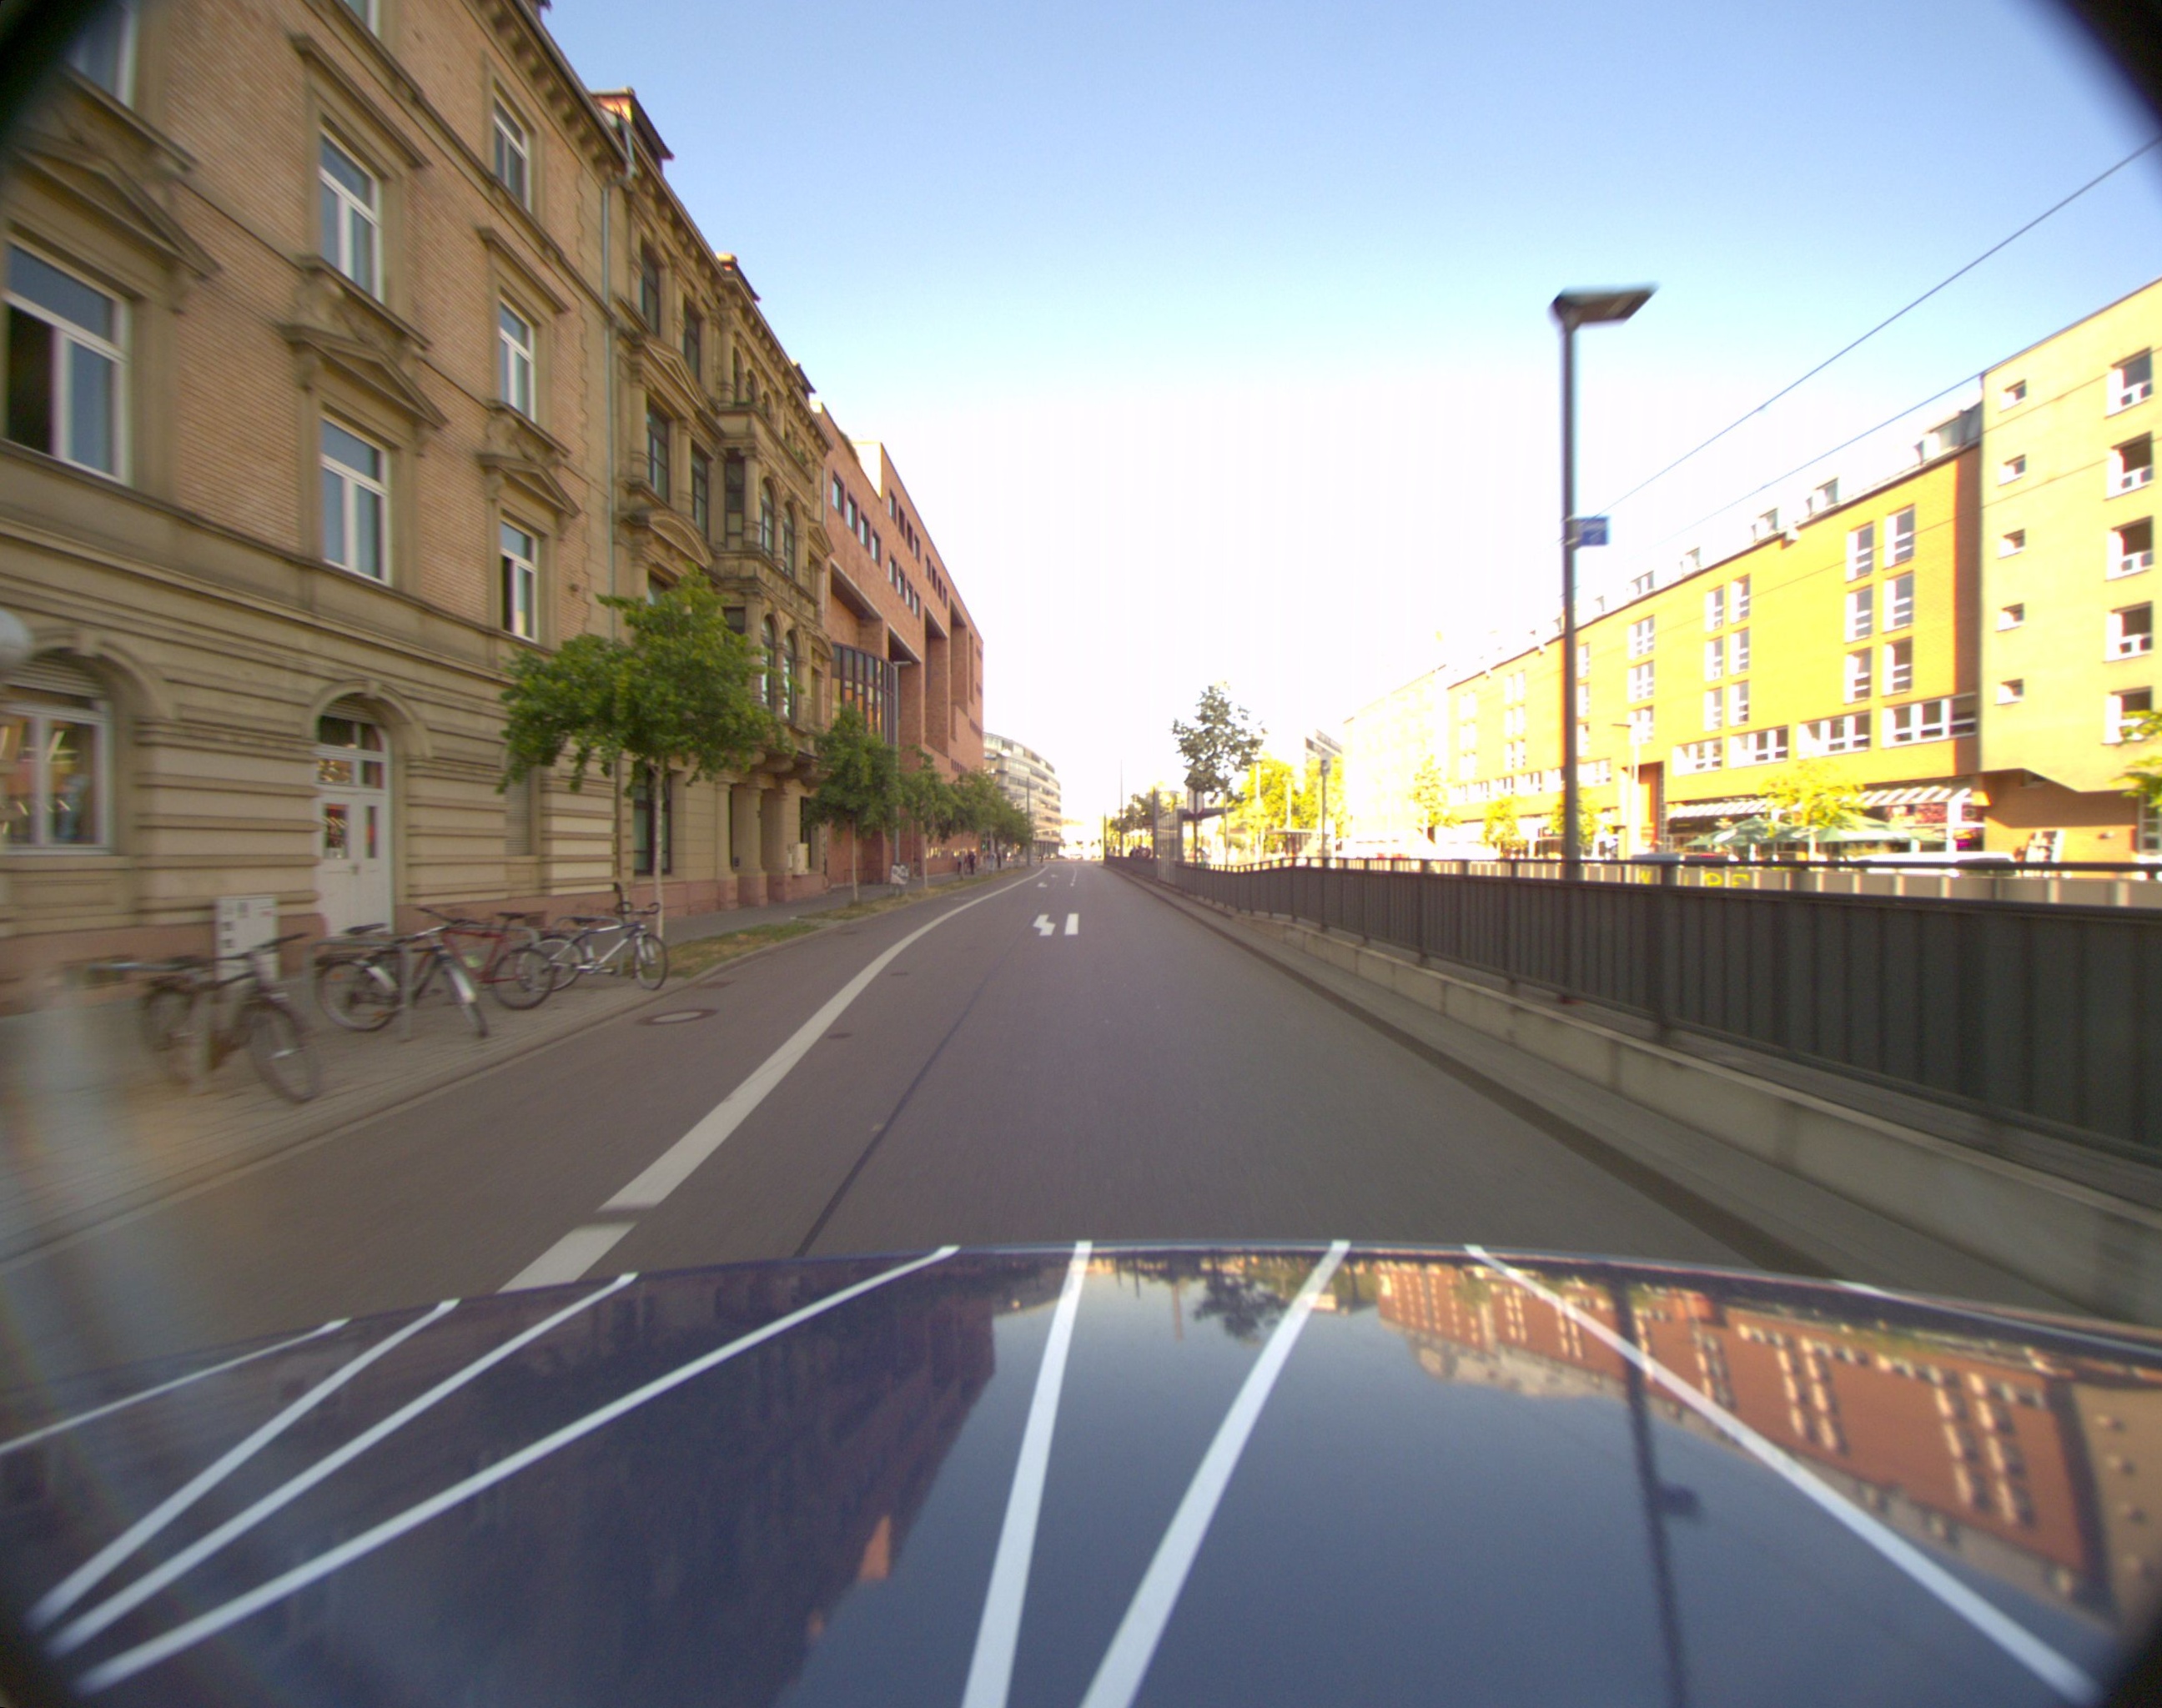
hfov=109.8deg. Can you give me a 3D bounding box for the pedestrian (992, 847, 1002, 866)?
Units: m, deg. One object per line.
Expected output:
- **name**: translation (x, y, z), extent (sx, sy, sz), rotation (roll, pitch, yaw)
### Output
- **pedestrian**: translation (-7.677, 0.255, 69.380), extent (0.639, 1.703, 0.574), rotation (1, 2, 45)

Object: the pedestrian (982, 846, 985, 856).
- **pedestrian**: translation (-18.539, -0.579, 144.535), extent (0.547, 1.813, 0.374), rotation (0, 1, -13)

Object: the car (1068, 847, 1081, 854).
- **car**: translation (-1.461, -0.789, 167.158), extent (1.901, 1.612, 4.177), rotation (0, 0, 15)

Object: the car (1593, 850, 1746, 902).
- **car**: translation (21.345, 0.733, 27.881), extent (1.998, 1.707, 4.942), rotation (0, 1, 4)

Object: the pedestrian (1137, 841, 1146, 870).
- **pedestrian**: translation (3.575, 0.090, 44.903), extent (0.506, 1.669, 0.651), rotation (0, 1, 0)

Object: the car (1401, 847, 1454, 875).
- **car**: translation (23.702, 0.477, 52.166), extent (1.890, 1.856, 4.317), rotation (0, 0, 3)

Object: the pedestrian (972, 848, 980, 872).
- **pedestrian**: translation (-7.668, 0.403, 55.376), extent (0.538, 1.746, 0.464), rotation (0, 1, -8)

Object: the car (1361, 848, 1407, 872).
- **car**: translation (23.849, 0.473, 59.893), extent (1.891, 1.856, 4.315), rotation (0, 0, 0)

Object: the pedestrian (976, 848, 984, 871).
- **pedestrian**: translation (-7.636, 0.404, 57.552), extent (0.538, 1.746, 0.695), rotation (0, 1, -6)

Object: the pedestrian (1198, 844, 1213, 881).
- **pedestrian**: translation (4.676, 0.301, 28.502), extent (0.430, 1.377, 0.407), rotation (-1, 1, -11)

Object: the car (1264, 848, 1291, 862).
- **car**: translation (21.818, 0.071, 84.516), extent (1.891, 1.523, 3.999), rotation (0, 0, -1)

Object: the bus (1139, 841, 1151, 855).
- **bus**: translation (15.954, -1.392, 190.067), extent (2.723, 3.388, 9.673), rotation (0, 0, 7)

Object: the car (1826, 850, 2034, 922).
- **car**: translation (25.747, 0.904, 23.303), extent (1.997, 2.002, 4.149), rotation (0, 0, 6)

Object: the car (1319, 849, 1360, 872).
- **car**: translation (21.217, 0.514, 62.517), extent (1.891, 1.856, 4.316), rotation (0, 0, 0)

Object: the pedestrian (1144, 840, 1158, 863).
- **pedestrian**: translation (5.120, -0.209, 55.603), extent (0.889, 1.662, 1.096), rotation (0, 1, 11)

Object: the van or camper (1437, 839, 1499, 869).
- **van or camper**: translation (29.055, 0.030, 57.235), extent (1.998, 2.156, 5.617), rotation (0, -1, 2)

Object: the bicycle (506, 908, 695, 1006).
- **bicycle**: translation (-5.849, 1.245, 9.327), extent (1.831, 1.058, 0.663), rotation (3, 0, -5)

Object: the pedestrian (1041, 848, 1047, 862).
- **pedestrian**: translation (-4.493, 0.105, 91.788), extent (0.625, 1.692, 0.748), rotation (0, 1, -14)

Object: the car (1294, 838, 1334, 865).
- **car**: translation (21.079, -0.262, 68.856), extent (2.051, 2.344, 4.919), rotation (0, 1, 0)

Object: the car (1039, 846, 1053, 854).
- **car**: translation (-7.516, -0.811, 164.319), extent (1.901, 1.612, 4.177), rotation (0, 0, 15)

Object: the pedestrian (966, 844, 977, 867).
- **pedestrian**: translation (-8.464, 0.101, 58.687), extent (0.735, 1.746, 0.695), rotation (0, 1, -5)

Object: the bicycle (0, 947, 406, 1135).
- **bicycle**: translation (-5.792, 1.223, 5.095), extent (1.831, 1.058, 0.663), rotation (3, 0, -5)

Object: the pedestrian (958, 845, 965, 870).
- **pedestrian**: translation (-8.634, 0.242, 54.940), extent (0.538, 1.746, 0.421), rotation (0, 1, -10)

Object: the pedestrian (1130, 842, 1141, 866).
- **pedestrian**: translation (3.617, -0.001, 50.704), extent (0.674, 1.553, 0.906), rotation (0, 1, 0)

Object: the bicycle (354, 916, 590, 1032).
- **bicycle**: translation (-6.319, 1.238, 7.959), extent (1.831, 1.058, 0.663), rotation (3, 0, -5)

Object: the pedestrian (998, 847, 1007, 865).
- **pedestrian**: translation (-7.232, 0.180, 69.944), extent (0.702, 1.596, 0.519), rotation (1, 2, 42)

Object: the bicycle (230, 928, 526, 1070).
- **bicycle**: translation (-6.002, 1.231, 6.571), extent (1.831, 1.058, 0.663), rotation (3, 0, -5)

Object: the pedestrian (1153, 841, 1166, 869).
- **pedestrian**: translation (4.853, 0.036, 47.111), extent (0.721, 1.722, 0.651), rotation (0, 1, 0)

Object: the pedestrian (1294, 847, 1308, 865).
- **pedestrian**: translation (14.822, 0.126, 51.112), extent (0.674, 1.183, 0.906), rotation (0, 1, 0)

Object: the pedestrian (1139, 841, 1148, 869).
- **pedestrian**: translation (3.889, 0.034, 46.966), extent (0.506, 1.722, 0.651), rotation (0, 1, 0)

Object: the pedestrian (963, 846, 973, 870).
- **pedestrian**: translation (-8.420, 0.294, 56.528), extent (0.537, 1.746, 0.696), rotation (0, 1, 11)
